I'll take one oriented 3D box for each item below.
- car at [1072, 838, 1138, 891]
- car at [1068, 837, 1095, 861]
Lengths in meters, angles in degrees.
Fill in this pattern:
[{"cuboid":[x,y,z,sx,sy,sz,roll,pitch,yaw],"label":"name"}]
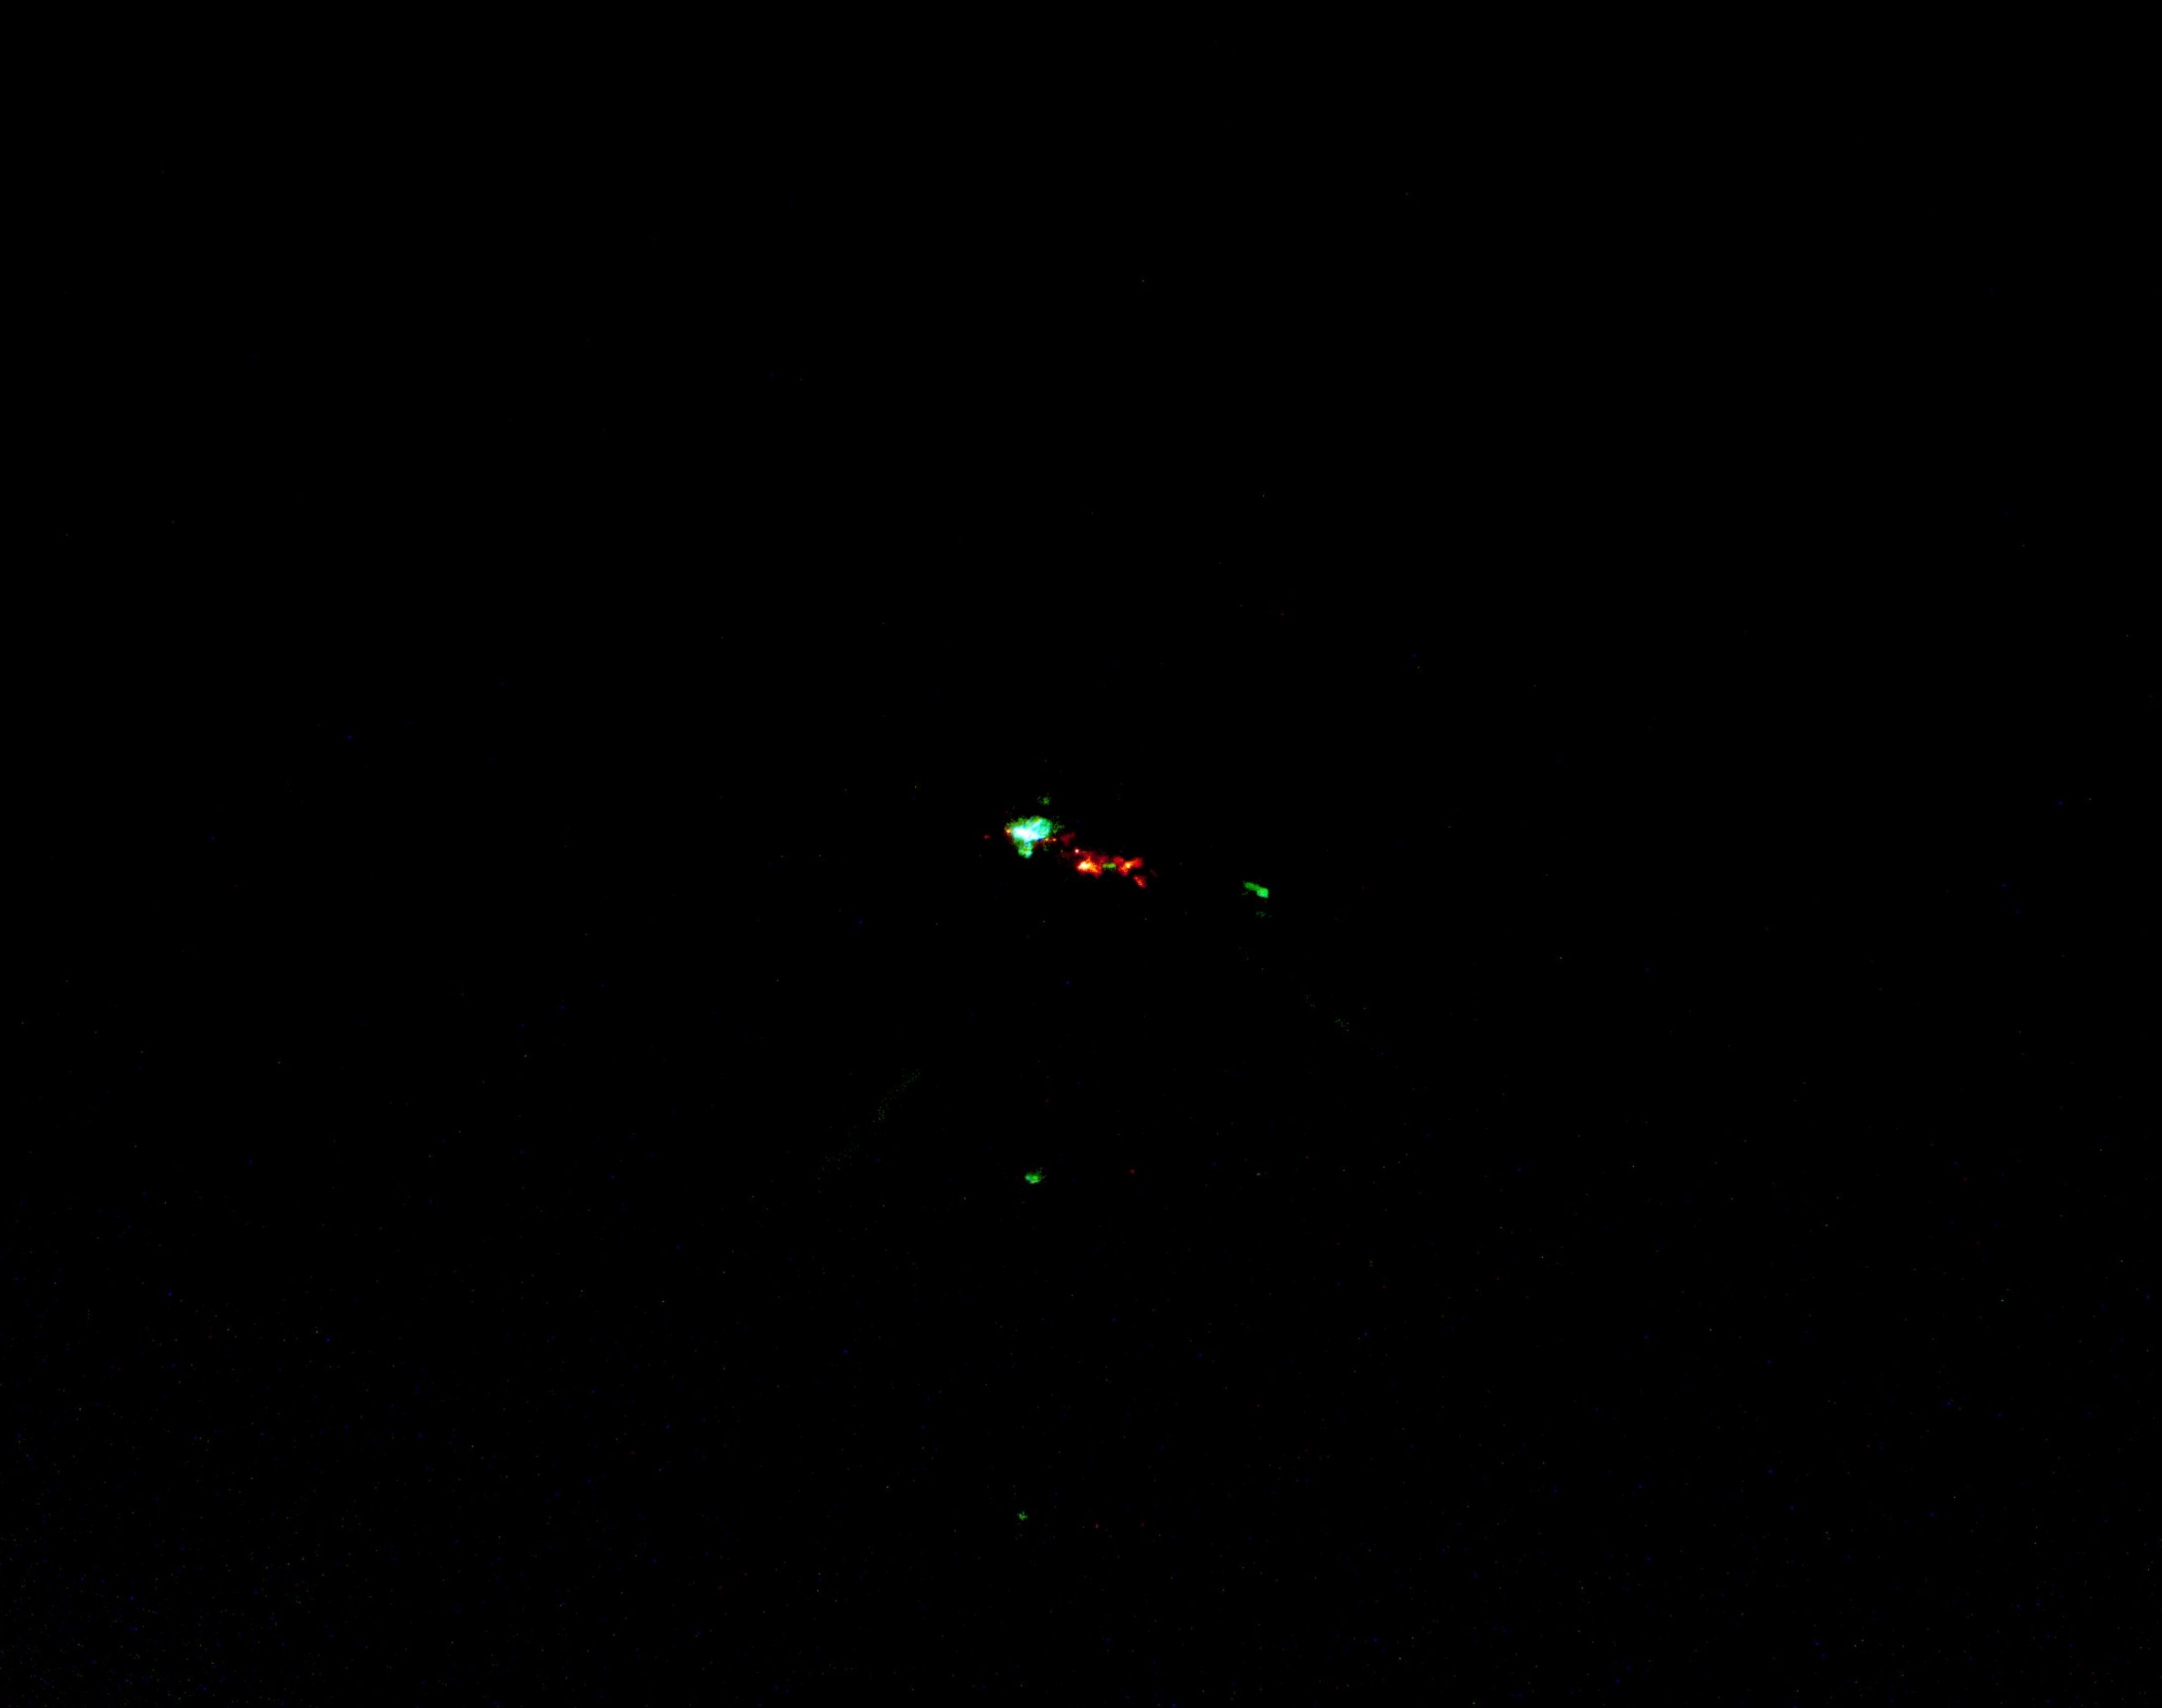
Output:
[{"cuboid":[1.047,0.400,33.007,2.447,1.958,4.916,-1,0,3],"label":"car"},{"cuboid":[0.003,-0.462,71.221,1.991,2.013,3.992,1,1,-6],"label":"car"}]
